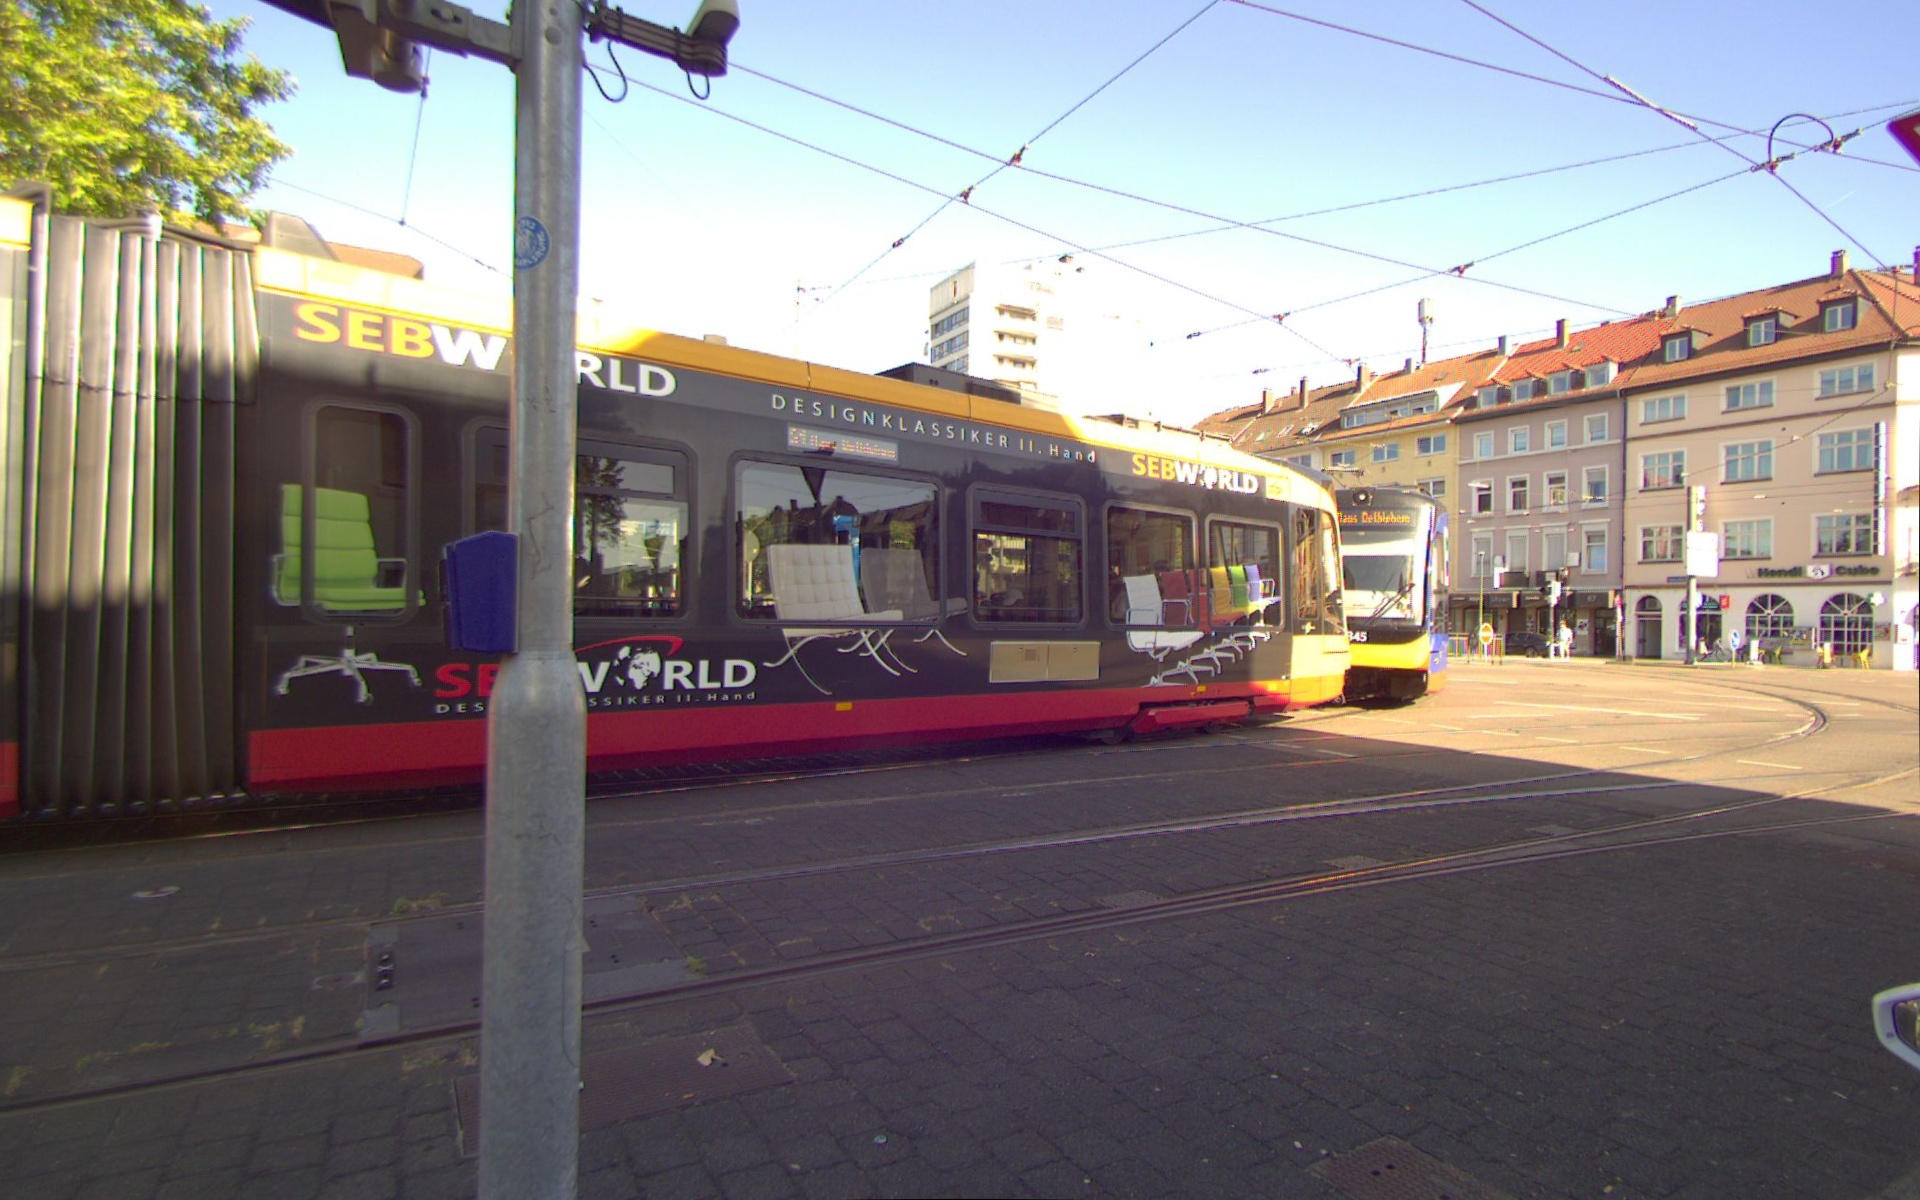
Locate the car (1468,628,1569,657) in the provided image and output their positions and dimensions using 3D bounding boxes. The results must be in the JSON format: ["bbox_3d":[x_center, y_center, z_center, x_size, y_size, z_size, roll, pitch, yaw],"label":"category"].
[{"bbox_3d":[30.570,2.322,55.083,1.725,1.459,4.614,2,-1,-32],"label":"car"}]

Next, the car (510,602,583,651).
[{"bbox_3d":[-13.622,0.845,32.969,1.697,1.506,4.185,1,-1,-30],"label":"car"}]

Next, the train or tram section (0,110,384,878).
[{"bbox_3d":[-8.994,-0.590,3.591,11.827,3.661,3.036,2,-1,-34],"label":"train or tram section"}]

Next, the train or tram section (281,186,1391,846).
[{"bbox_3d":[0.216,-0.328,10.650,12.018,3.661,3.029,2,-1,-41],"label":"train or tram section"}]

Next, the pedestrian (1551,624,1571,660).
[{"bbox_3d":[28.023,1.933,46.824,0.716,1.648,0.668,0,-1,40],"label":"pedestrian"}]

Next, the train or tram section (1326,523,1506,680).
[{"bbox_3d":[12.971,0.146,29.811,3.003,3.661,12.508,1,-1,16],"label":"train or tram section"}]

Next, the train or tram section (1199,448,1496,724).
[{"bbox_3d":[8.062,-0.059,19.251,3.012,3.661,12.084,0,-1,32],"label":"train or tram section"}]

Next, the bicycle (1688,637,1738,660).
[{"bbox_3d":[37.635,2.439,50.248,0.578,1.081,1.929,1,-1,-36],"label":"bicycle"}]
